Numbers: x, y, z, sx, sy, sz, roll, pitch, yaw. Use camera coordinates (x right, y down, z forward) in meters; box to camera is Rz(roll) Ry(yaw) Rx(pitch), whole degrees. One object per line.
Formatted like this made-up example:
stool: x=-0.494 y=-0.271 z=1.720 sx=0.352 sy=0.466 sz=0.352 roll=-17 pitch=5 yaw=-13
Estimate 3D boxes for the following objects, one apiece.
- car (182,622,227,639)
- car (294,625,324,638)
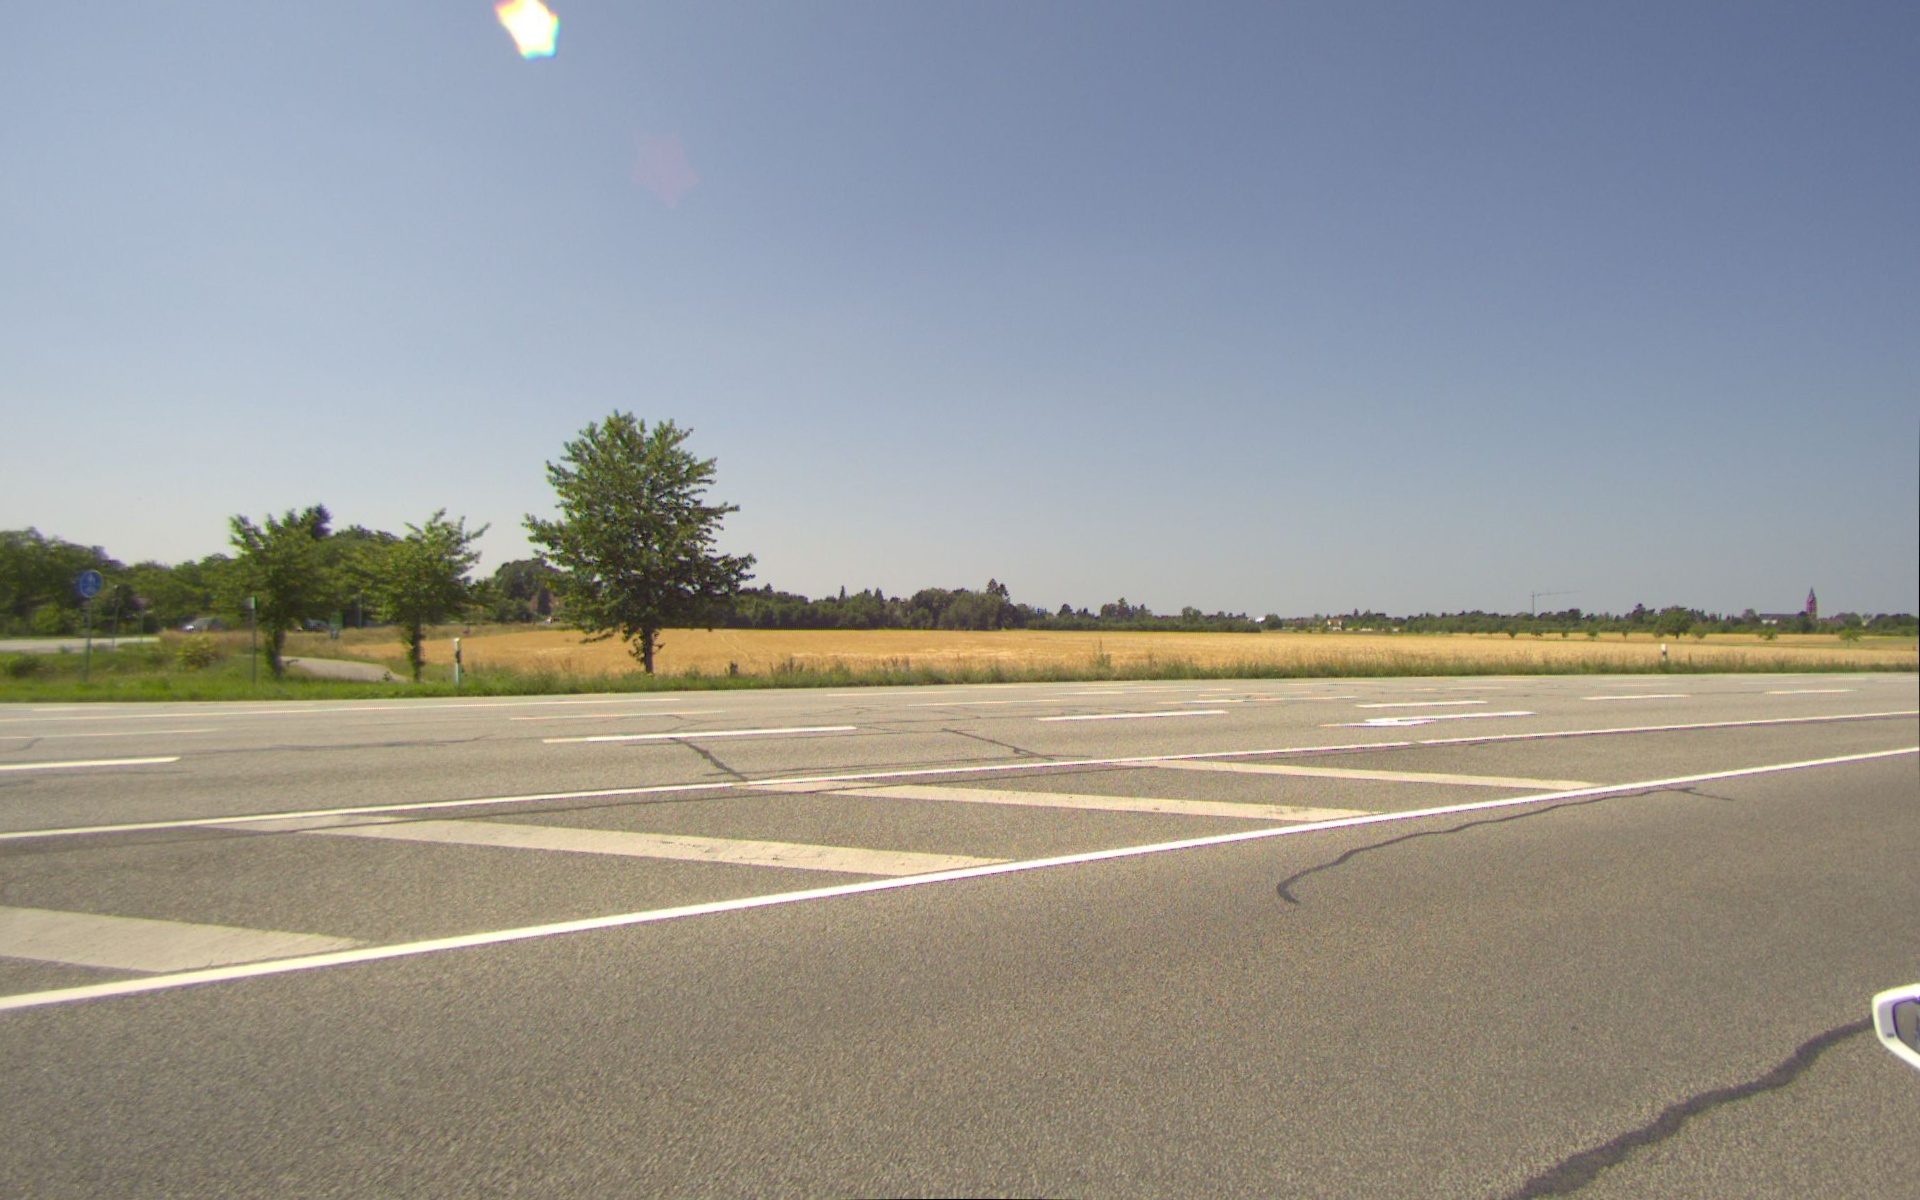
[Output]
car: x=-62.429 y=2.514 z=83.079 sx=1.474 sy=1.405 sz=3.767 roll=1 pitch=-2 yaw=-12
car: x=-70.479 y=3.430 z=108.806 sx=1.474 sy=1.405 sz=3.767 roll=1 pitch=-2 yaw=-12
